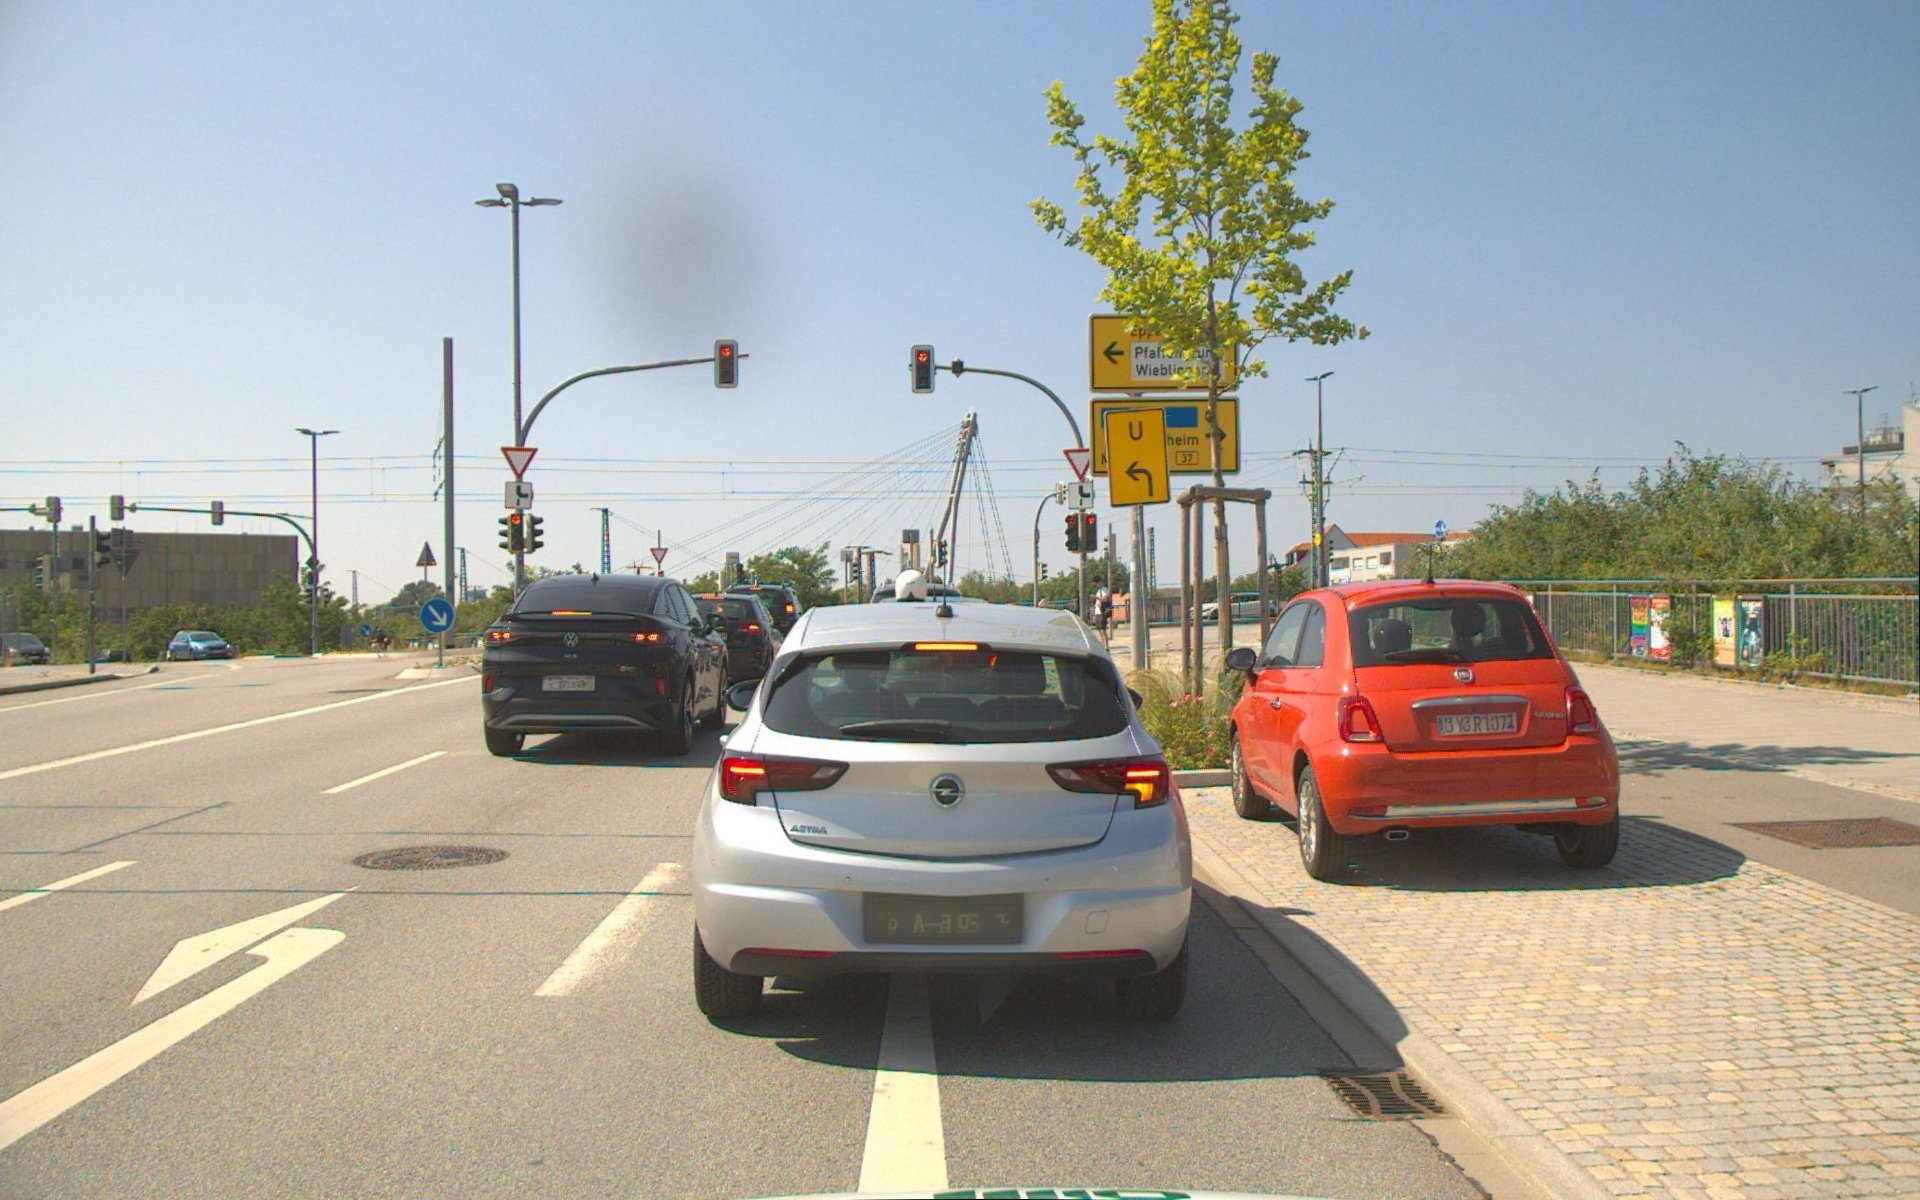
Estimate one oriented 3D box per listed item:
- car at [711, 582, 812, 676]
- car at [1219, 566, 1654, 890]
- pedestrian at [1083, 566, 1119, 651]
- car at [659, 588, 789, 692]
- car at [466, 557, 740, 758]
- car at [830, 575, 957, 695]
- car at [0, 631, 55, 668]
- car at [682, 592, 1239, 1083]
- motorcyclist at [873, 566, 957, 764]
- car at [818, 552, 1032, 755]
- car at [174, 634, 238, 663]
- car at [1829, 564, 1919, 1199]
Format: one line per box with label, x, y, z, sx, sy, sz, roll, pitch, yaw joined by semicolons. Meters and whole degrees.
car;-3.698;0.529;31.268;1.616;1.643;3.818;1;0;-3
car;2.595;0.614;9.770;1.577;1.522;3.352;-2;0;0
pedestrian;3.178;0.184;37.427;0.634;1.868;0.797;-3;0;-3
car;-3.580;0.581;25.586;1.543;1.459;3.785;1;0;-2
car;-3.305;0.498;16.153;1.765;1.670;4.365;1;0;-1
car;-0.914;0.448;24.365;1.689;1.591;4.000;1;1;-1
car;-41.247;2.174;73.078;1.662;1.502;3.358;-1;1;-39
car;-0.100;0.749;7.122;1.708;1.503;3.997;1;0;-3
motorcyclist;-0.320;0.468;12.212;0.570;1.413;0.707;1;-1;1
car;-0.353;0.469;17.550;1.953;1.852;4.401;1;1;-1
car;-36.276;2.344;79.555;1.806;1.354;3.941;1;-2;-40
car;2.920;0.623;1.907;1.627;1.451;3.999;-1;0;-2
